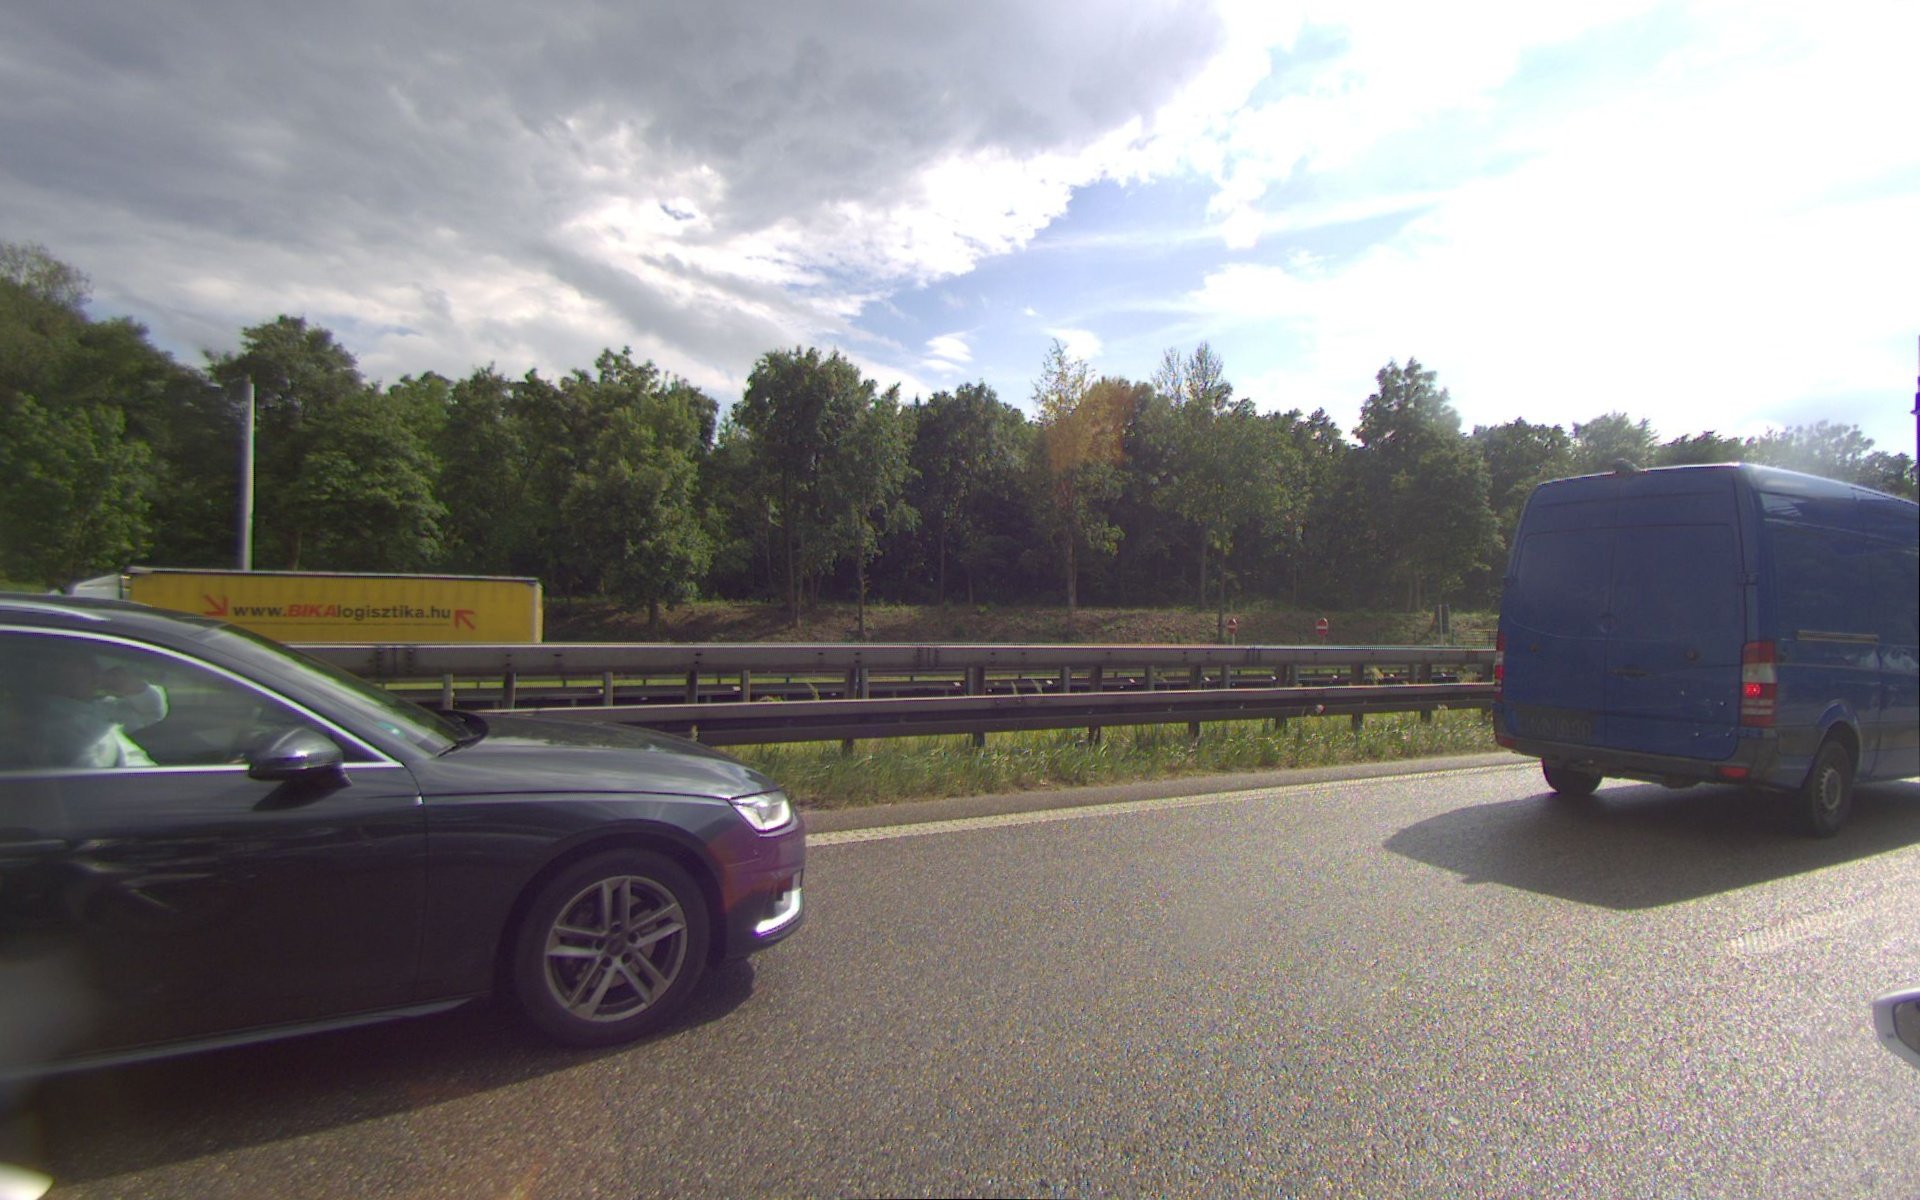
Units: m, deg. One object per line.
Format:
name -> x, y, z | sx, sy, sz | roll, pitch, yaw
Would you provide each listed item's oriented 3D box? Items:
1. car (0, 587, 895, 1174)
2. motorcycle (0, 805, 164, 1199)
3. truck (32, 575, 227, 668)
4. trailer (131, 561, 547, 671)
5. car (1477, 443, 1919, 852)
car -> -2.570, 0.687, 3.303 | 4.418, 1.430, 1.710 | 2, -1, -32
motorcycle -> -2.110, 0.908, 1.019 | 1.961, 1.101, 0.672 | 2, 0, -34
truck -> -30.086, 0.788, 36.572 | 4.997, 3.139, 1.974 | 2, 0, -19
trailer -> -23.382, 0.730, 38.854 | 13.444, 3.744, 1.992 | 2, 0, -19
car -> 7.257, 0.372, 8.931 | 5.710, 2.684, 2.005 | 2, 0, -31
